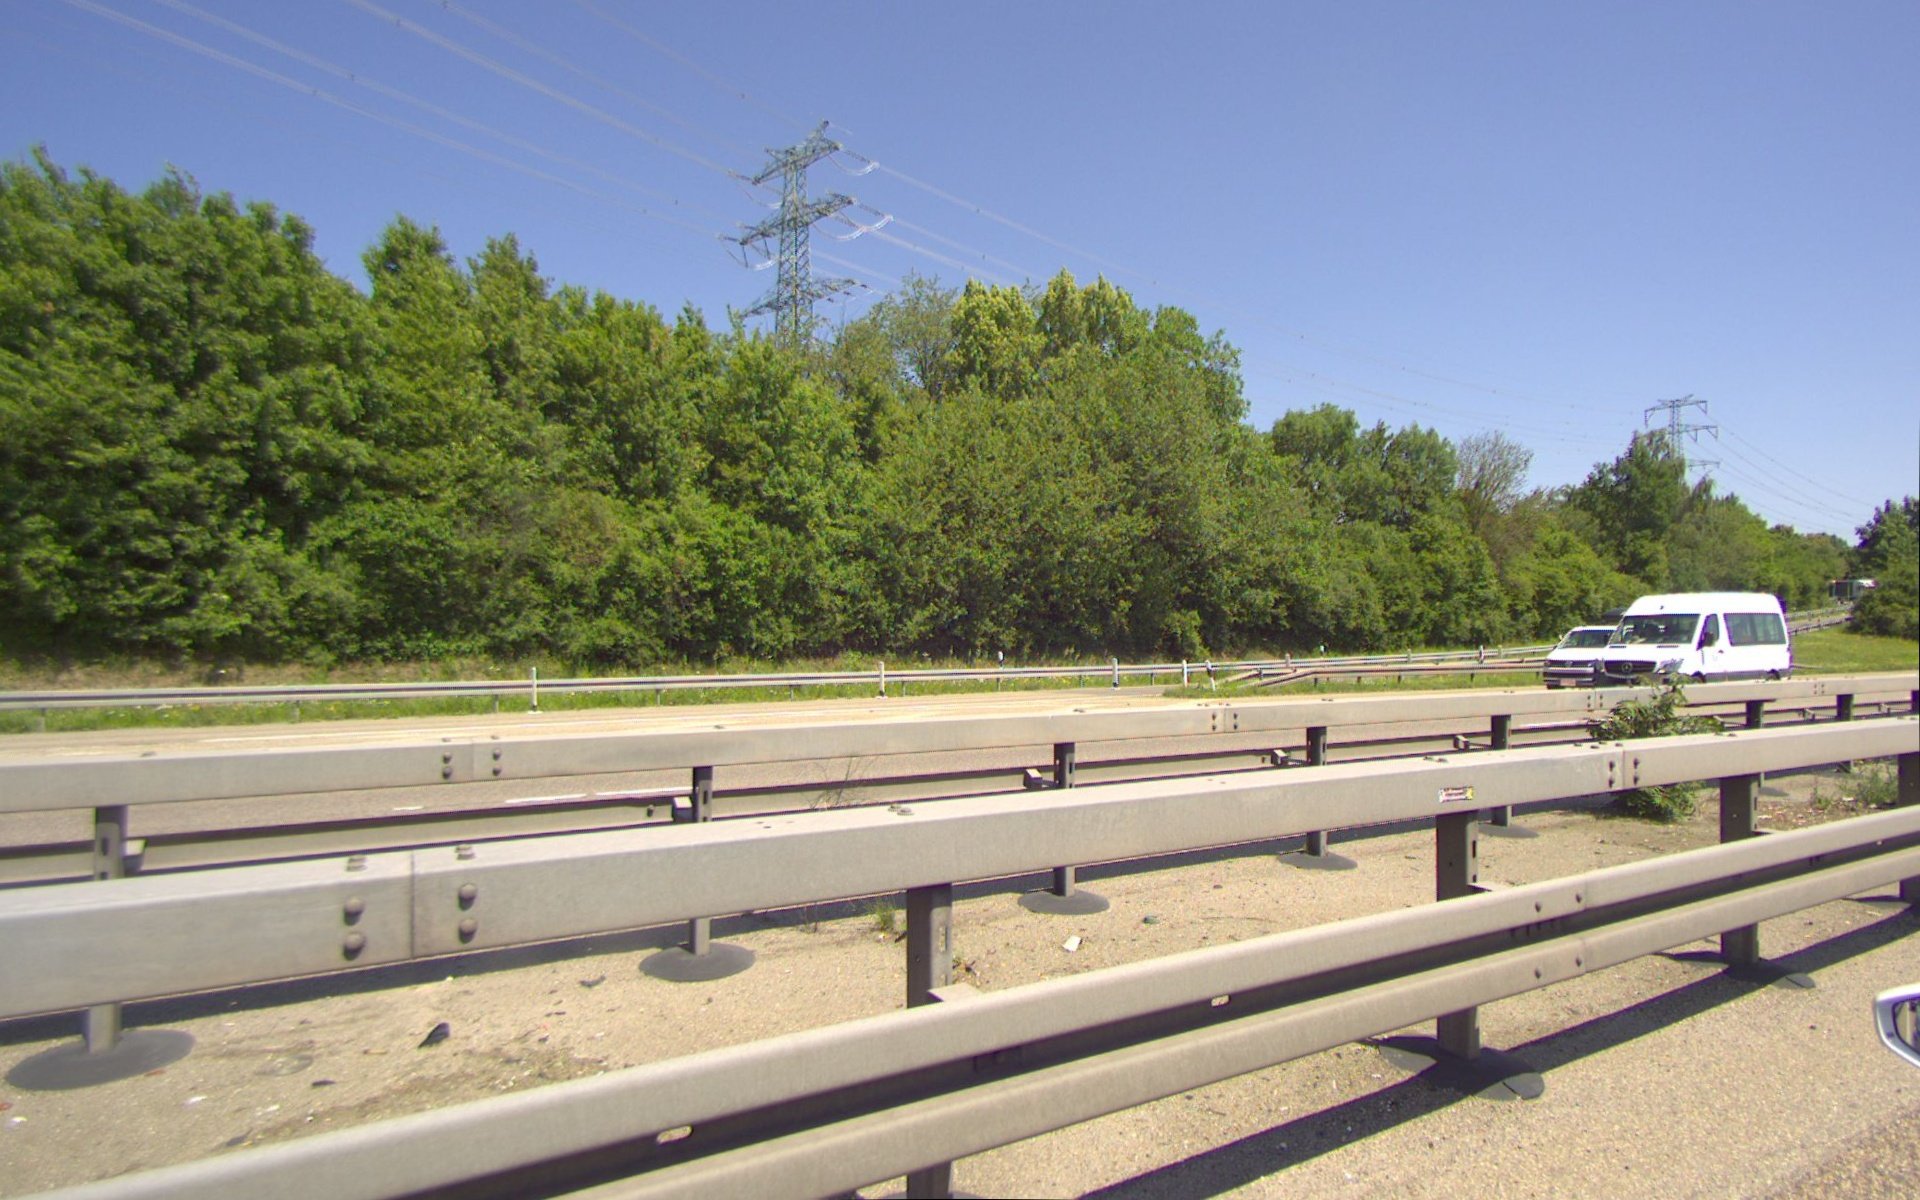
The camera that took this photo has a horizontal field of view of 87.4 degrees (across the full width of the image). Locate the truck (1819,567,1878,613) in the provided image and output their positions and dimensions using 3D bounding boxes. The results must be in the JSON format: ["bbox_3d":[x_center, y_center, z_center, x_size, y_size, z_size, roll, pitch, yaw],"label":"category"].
[{"bbox_3d":[149.663,-1.608,169.505,4.603,7.324,13.616,2,0,30],"label":"truck"}]

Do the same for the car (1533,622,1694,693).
[{"bbox_3d":[19.424,1.697,29.788,5.431,1.929,1.855,2,-3,-32],"label":"car"}]

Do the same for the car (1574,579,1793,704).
[{"bbox_3d":[17.398,1.060,24.066,5.772,2.685,2.043,2,-5,-31],"label":"car"}]
